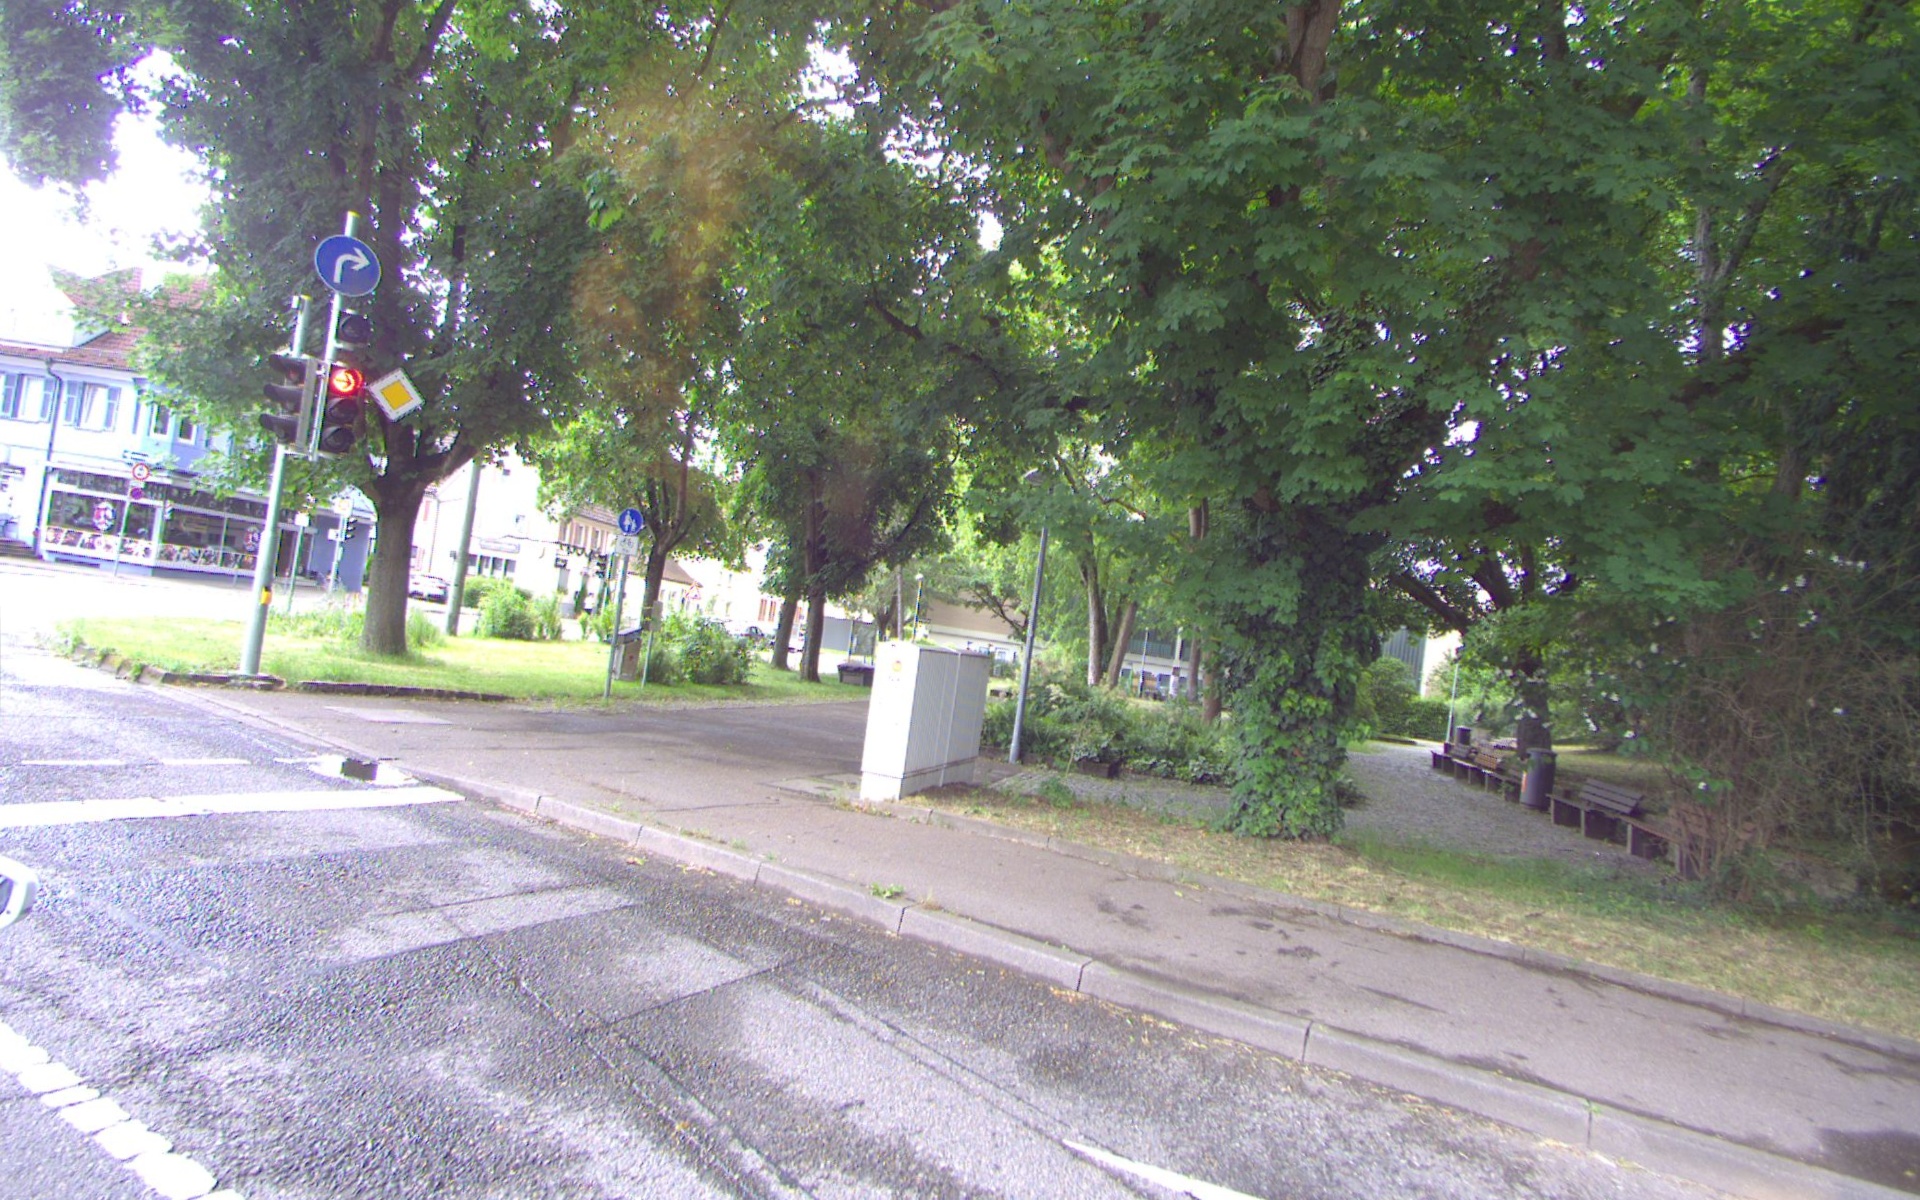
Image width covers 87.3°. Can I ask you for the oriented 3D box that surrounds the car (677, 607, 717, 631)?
[{"bbox_3d":[-19.374,1.439,74.254,1.528,1.436,4.005,7,-2,4],"label":"car"}]

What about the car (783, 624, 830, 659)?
[{"bbox_3d":[-10.059,2.755,66.181,1.750,2.037,4.005,7,-2,7],"label":"car"}]

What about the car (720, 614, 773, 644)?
[{"bbox_3d":[-11.570,1.594,54.827,1.530,1.336,3.514,7,-2,9],"label":"car"}]

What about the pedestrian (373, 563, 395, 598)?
[{"bbox_3d":[-27.021,-0.919,47.164,0.576,1.535,0.460,7,-1,3],"label":"pedestrian"}]

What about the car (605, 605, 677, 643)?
[{"bbox_3d":[-14.011,1.088,44.362,1.530,1.336,3.514,7,-2,9],"label":"car"}]

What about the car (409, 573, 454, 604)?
[{"bbox_3d":[-27.873,-0.605,53.149,1.479,1.384,3.166,8,-2,-19],"label":"car"}]

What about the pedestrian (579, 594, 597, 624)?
[{"bbox_3d":[-21.603,0.522,58.484,0.600,1.668,0.610,7,-1,3],"label":"pedestrian"}]

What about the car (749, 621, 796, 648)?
[{"bbox_3d":[-11.170,2.067,60.112,1.530,1.336,3.514,7,-2,8],"label":"car"}]
